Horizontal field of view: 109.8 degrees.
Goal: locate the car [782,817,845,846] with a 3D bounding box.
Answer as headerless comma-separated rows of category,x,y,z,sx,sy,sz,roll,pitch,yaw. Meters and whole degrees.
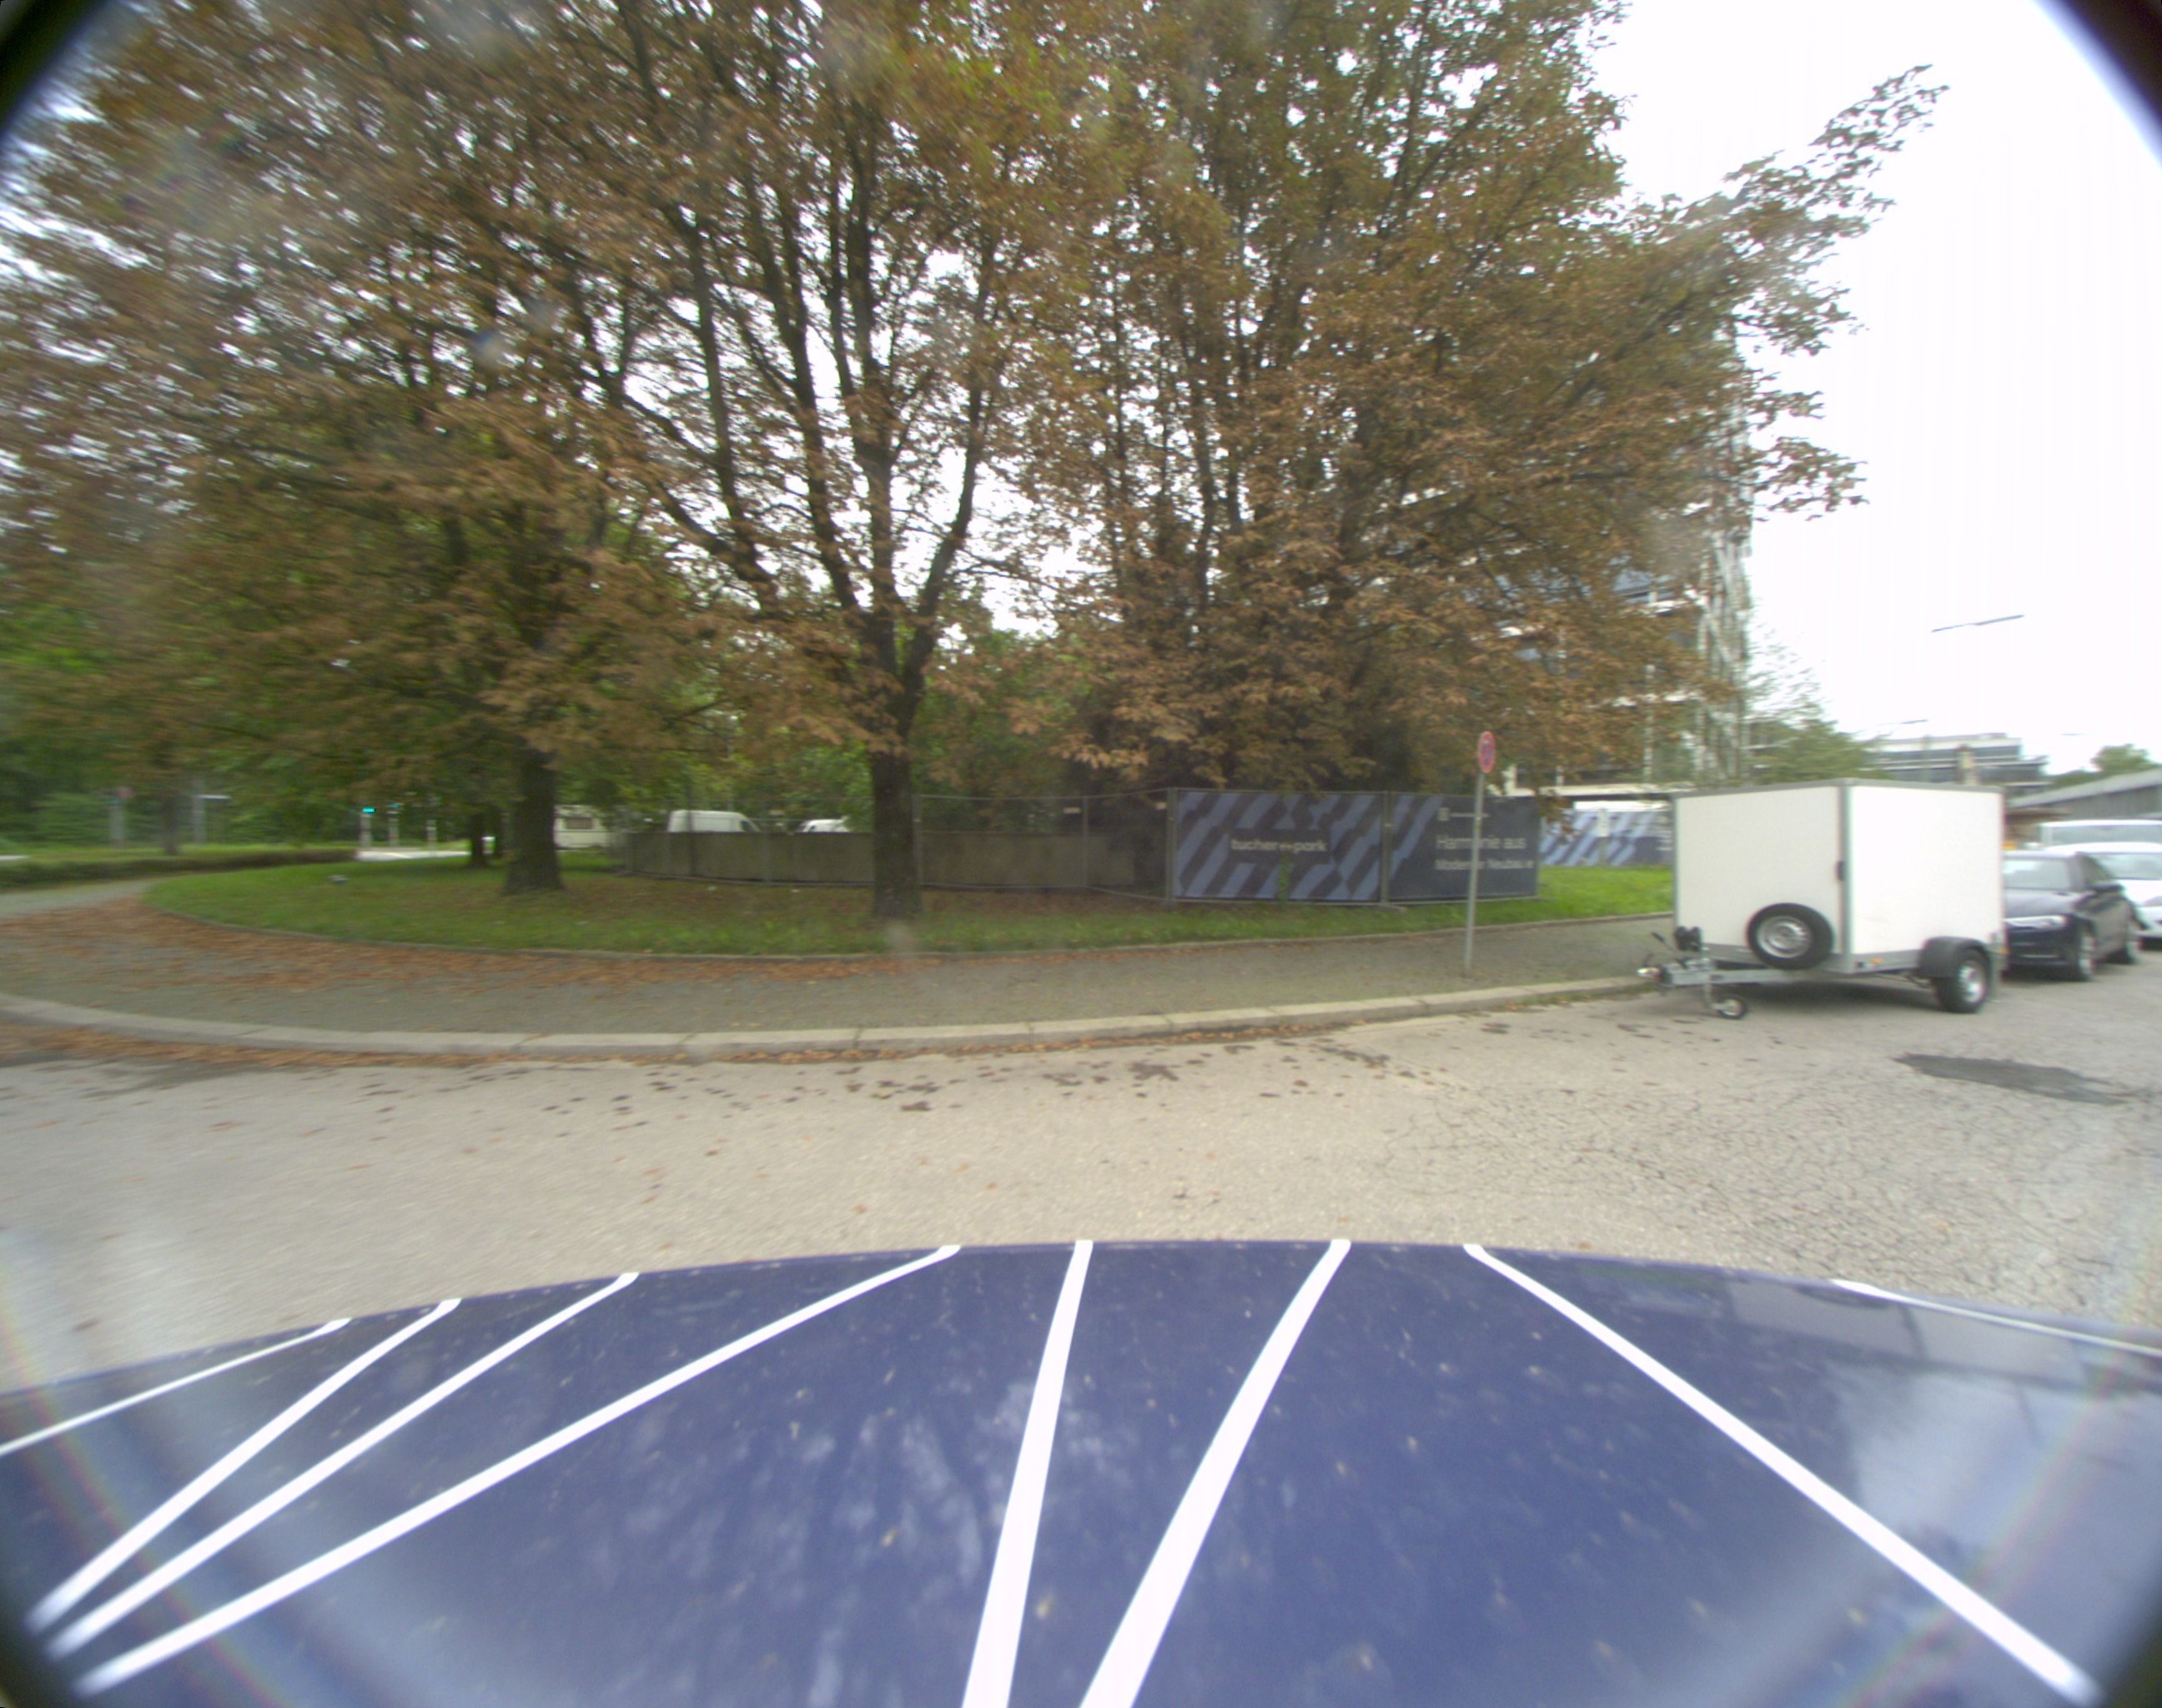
car,-24.899,-2.110,70.969,2.070,2.566,5.146,2,3,43

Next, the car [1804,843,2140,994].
car,11.166,0.623,9.478,4.335,1.429,1.873,-1,3,-30

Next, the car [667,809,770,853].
car,-22.677,-1.433,47.750,2.070,2.566,5.469,2,3,42

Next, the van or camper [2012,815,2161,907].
van or camper,24.898,0.050,18.889,5.386,2.002,1.994,-2,3,-41

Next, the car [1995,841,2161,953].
car,16.143,0.558,11.964,4.228,1.478,1.767,-1,2,-34

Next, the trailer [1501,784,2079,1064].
trailer,6.532,0.435,7.052,4.838,2.002,1.811,-1,2,-19

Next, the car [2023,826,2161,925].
car,20.442,0.323,15.150,4.458,1.718,1.994,-2,3,-39

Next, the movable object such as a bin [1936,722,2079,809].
movable object such as a bin,46.503,-4.237,38.494,3.241,3.696,9.025,2,3,42

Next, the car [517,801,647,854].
car,-27.481,-1.445,41.996,2.070,2.719,5.608,2,3,42
